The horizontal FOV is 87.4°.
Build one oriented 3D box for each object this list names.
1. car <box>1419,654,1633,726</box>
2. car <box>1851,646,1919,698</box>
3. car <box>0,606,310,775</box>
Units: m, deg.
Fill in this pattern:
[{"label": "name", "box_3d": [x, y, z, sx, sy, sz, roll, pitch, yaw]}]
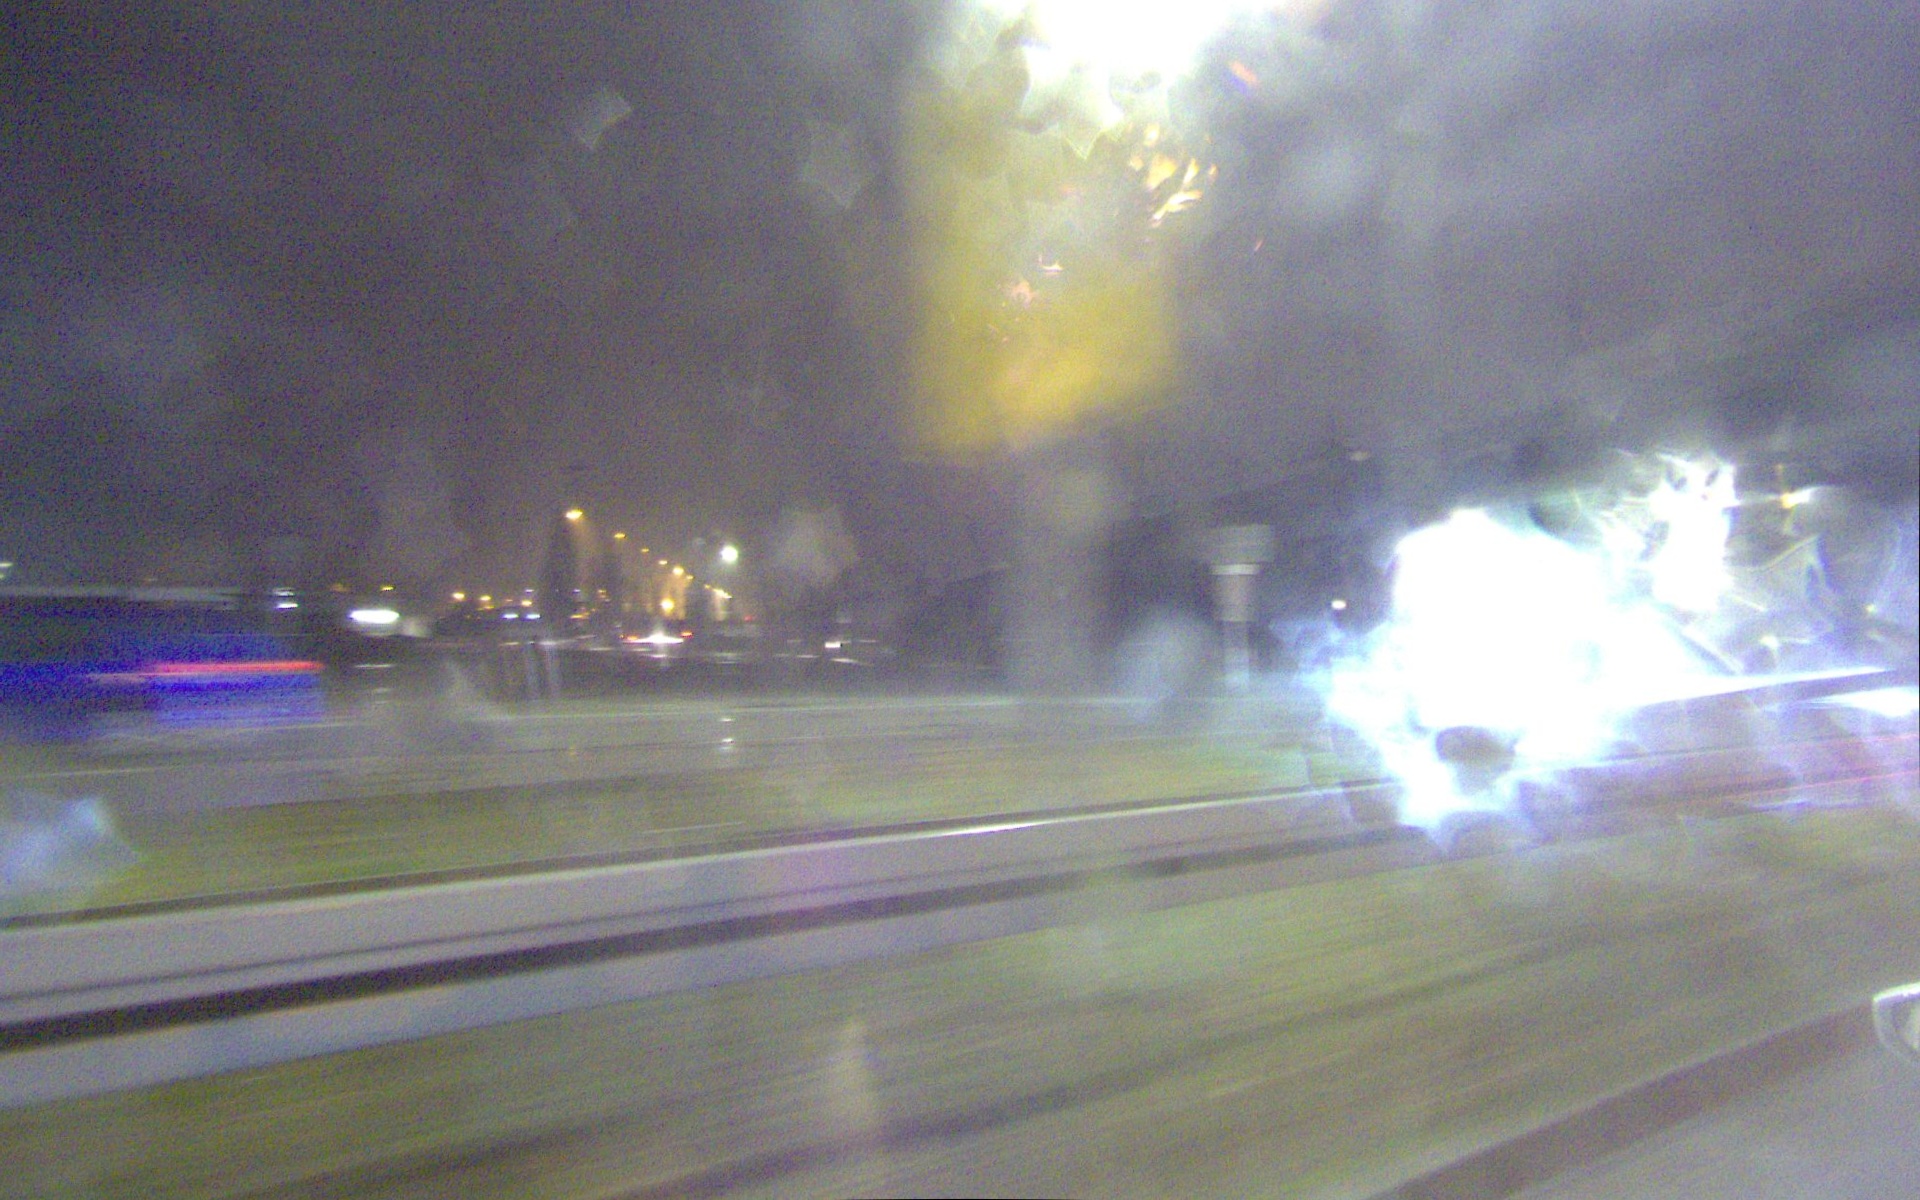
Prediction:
[{"label": "car", "box_3d": [11.606, 1.792, 20.581, 4.076, 1.305, 1.849, 2, -2, -26]}, {"label": "car", "box_3d": [26.490, 1.951, 27.415, 4.076, 1.305, 1.849, 2, -2, -26]}, {"label": "car", "box_3d": [-8.411, 0.789, 9.353, 3.911, 1.446, 1.557, 2, -2, -34]}]
